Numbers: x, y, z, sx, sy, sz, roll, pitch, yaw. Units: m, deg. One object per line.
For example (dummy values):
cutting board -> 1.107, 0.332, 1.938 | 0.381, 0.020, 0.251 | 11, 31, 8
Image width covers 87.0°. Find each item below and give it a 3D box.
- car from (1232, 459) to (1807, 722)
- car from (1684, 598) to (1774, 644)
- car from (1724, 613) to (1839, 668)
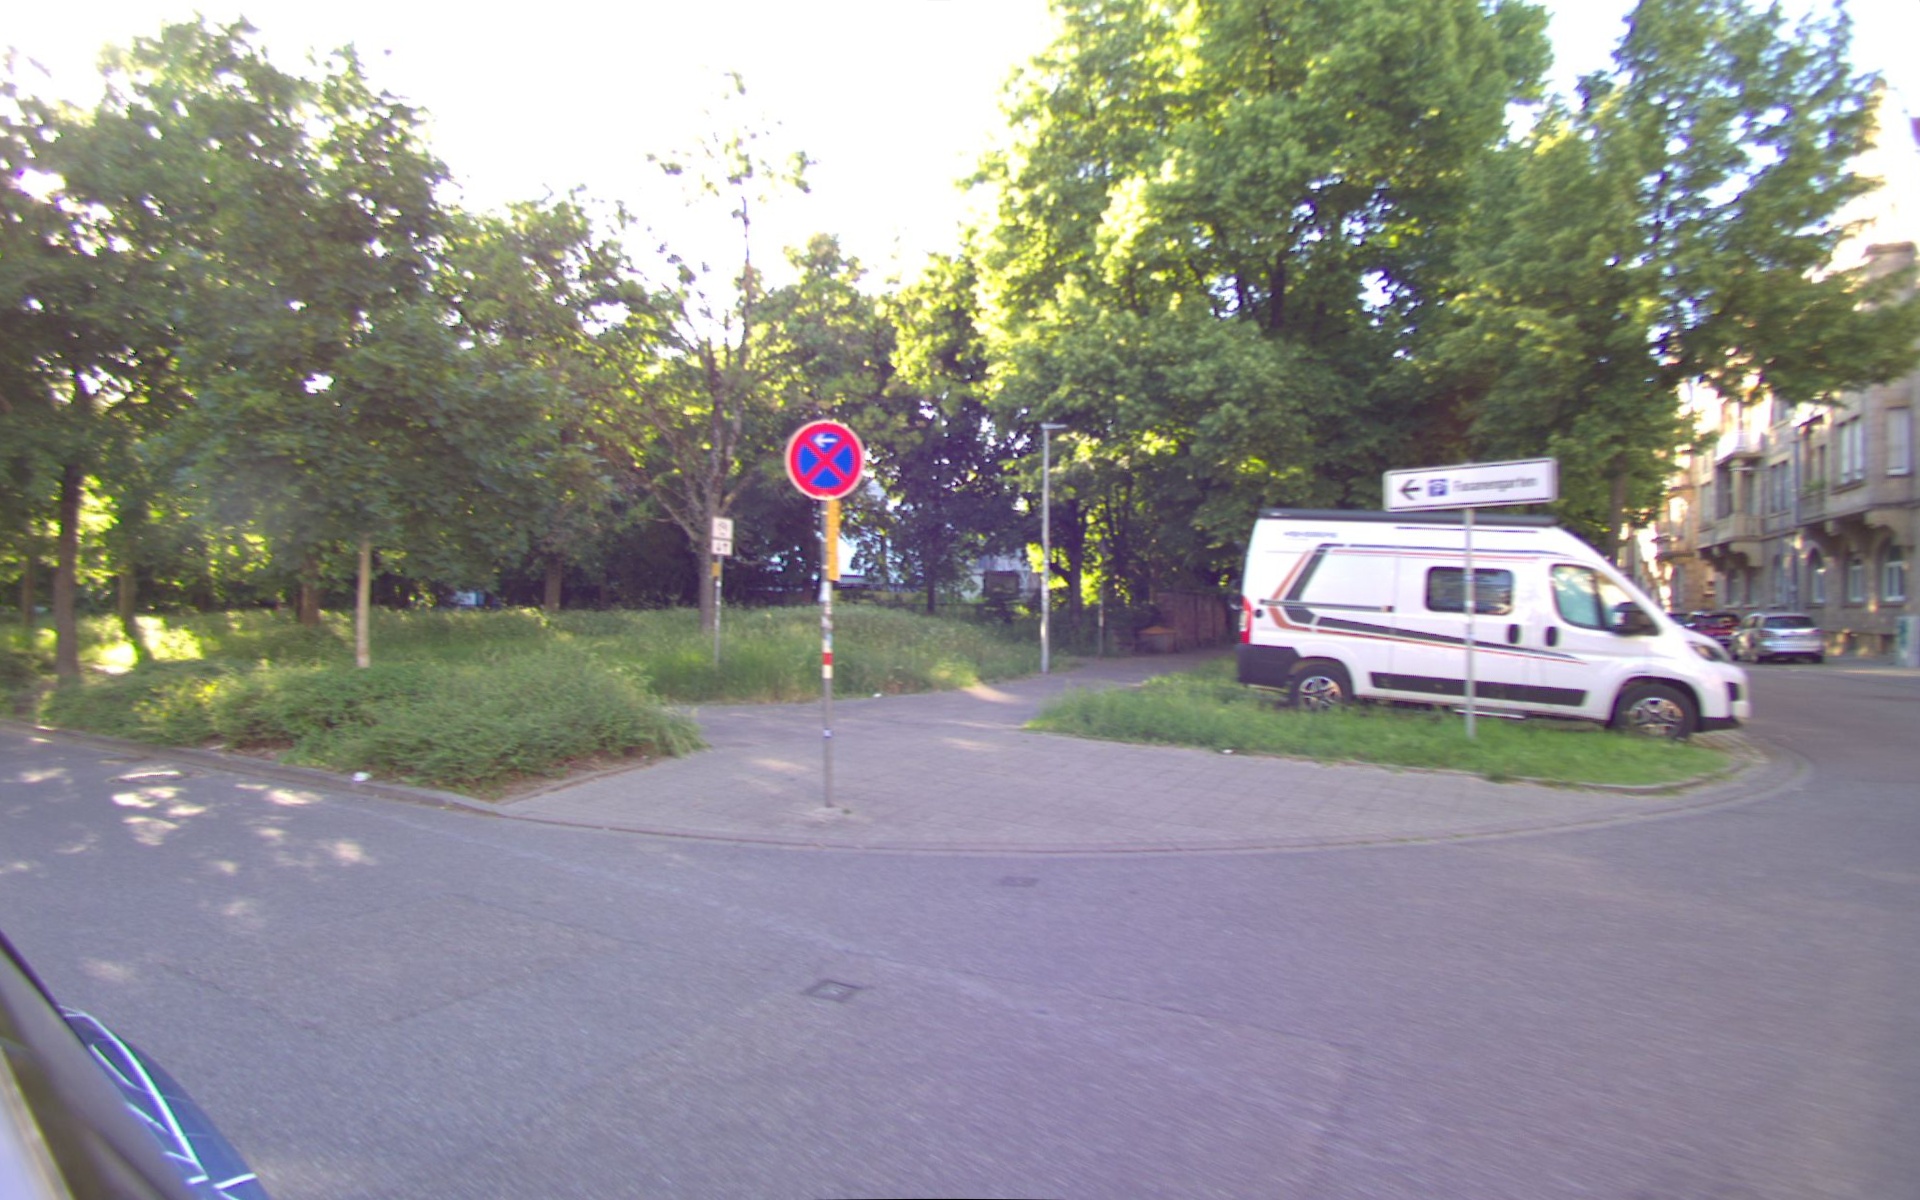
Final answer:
car -> 6.348, -0.085, 12.300 | 5.597, 2.634, 2.221 | 0, 0, 24
car -> 29.947, 0.776, 39.545 | 1.989, 1.637, 4.107 | 0, 0, 26
car -> 25.843, 1.228, 31.988 | 1.857, 1.558, 3.763 | 0, 0, 24
